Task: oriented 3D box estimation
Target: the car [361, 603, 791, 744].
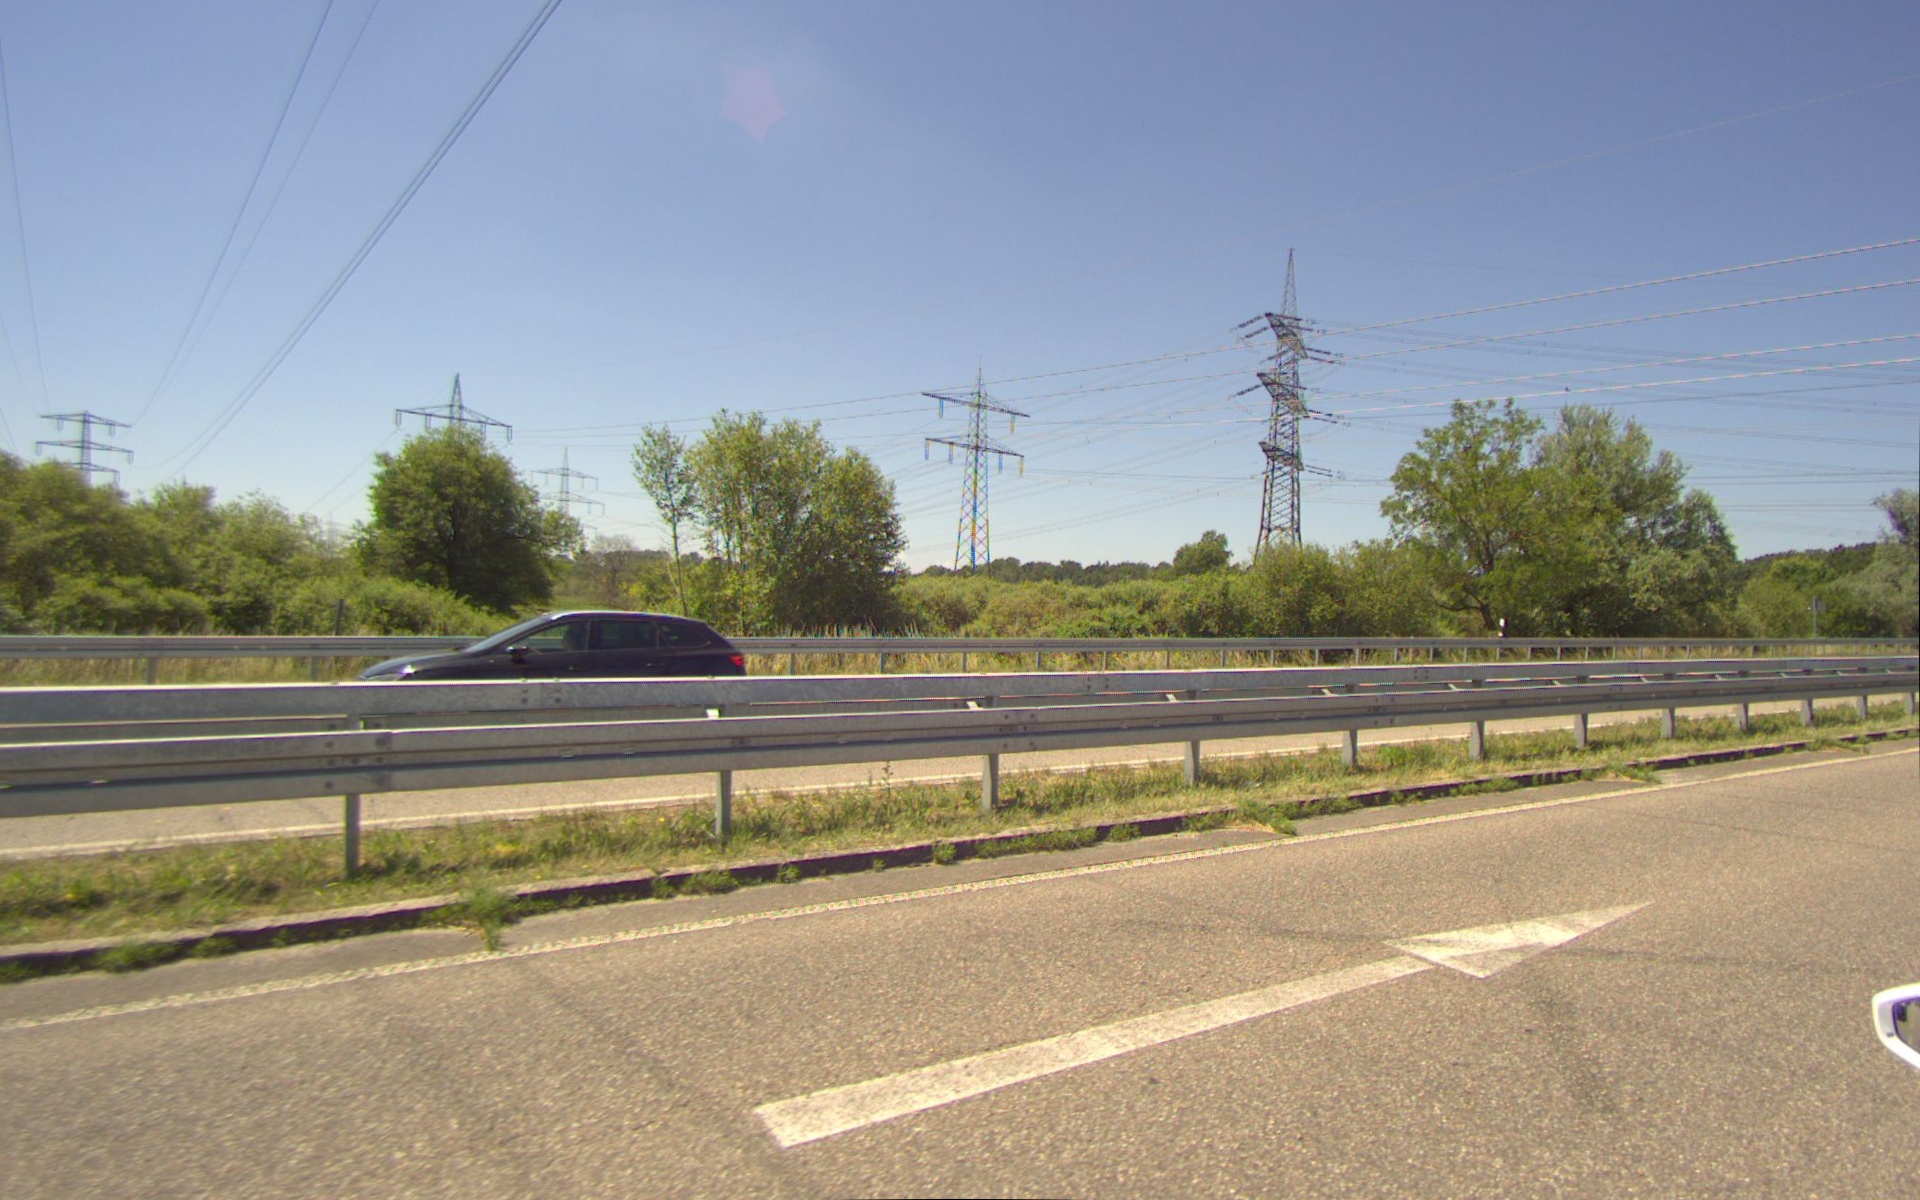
[{"bbox_3d":[-4.587,0.801,12.272,4.626,1.432,1.836,1,0,-30],"label":"car"}]
